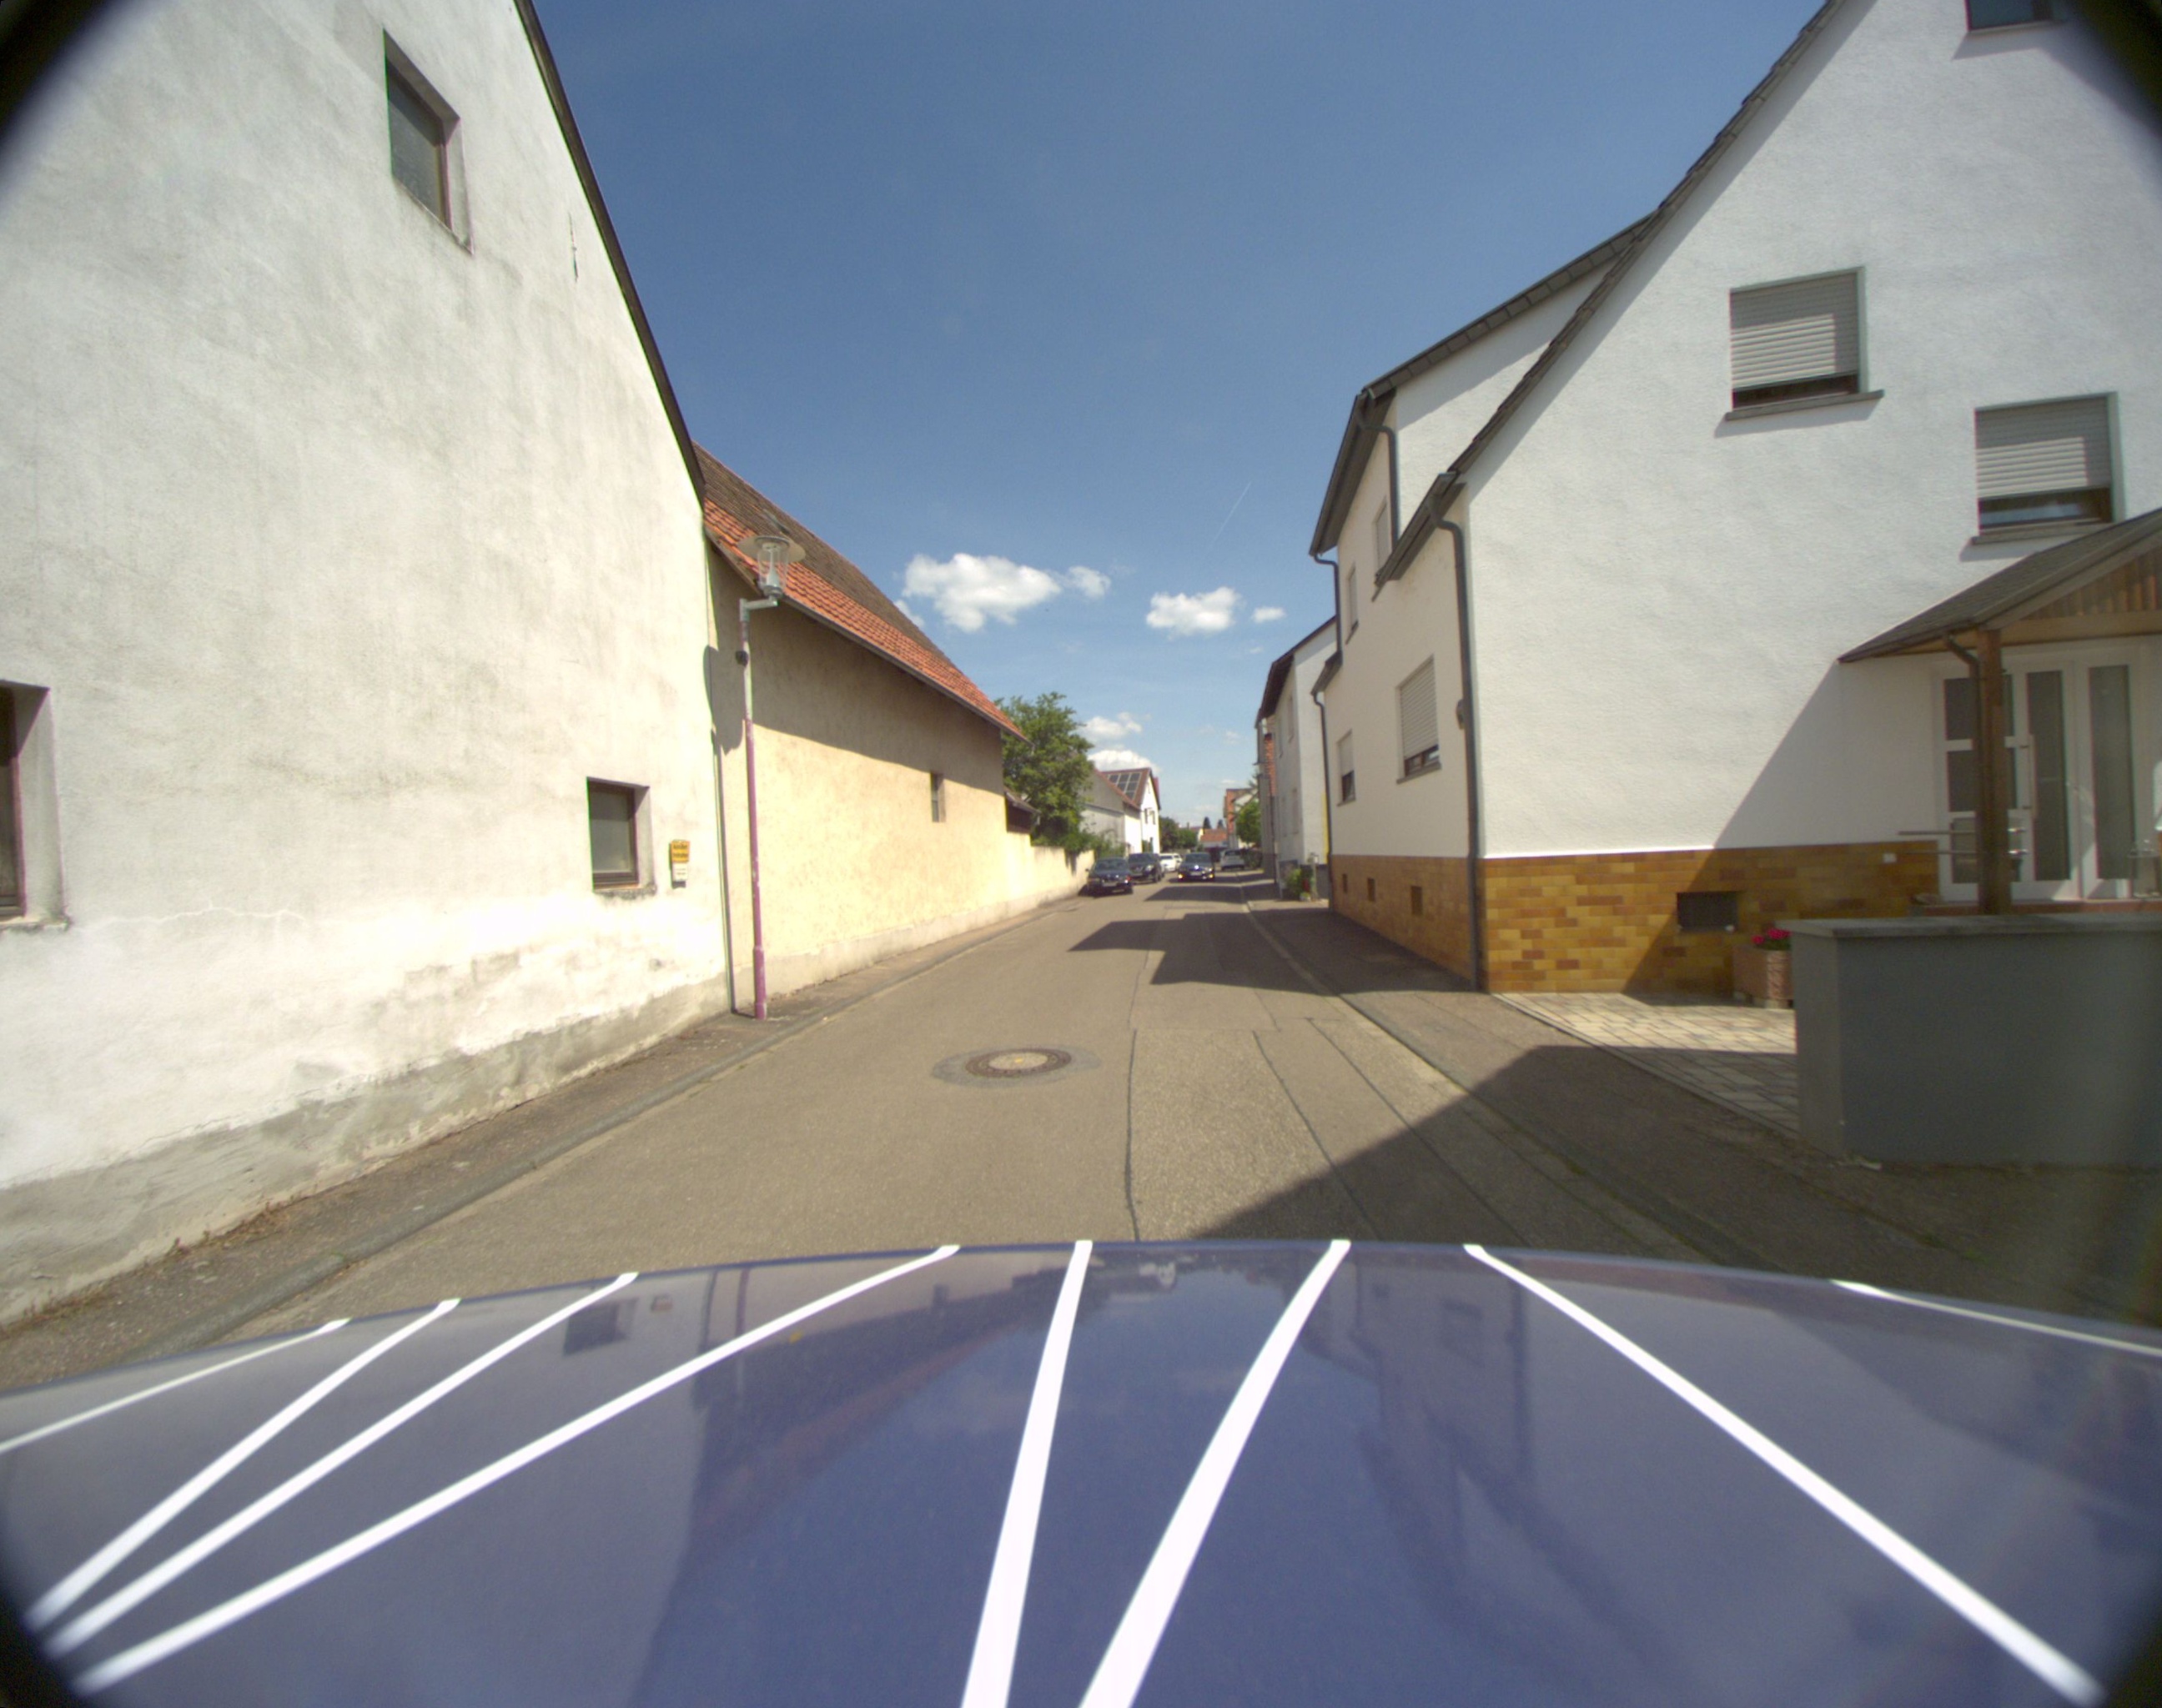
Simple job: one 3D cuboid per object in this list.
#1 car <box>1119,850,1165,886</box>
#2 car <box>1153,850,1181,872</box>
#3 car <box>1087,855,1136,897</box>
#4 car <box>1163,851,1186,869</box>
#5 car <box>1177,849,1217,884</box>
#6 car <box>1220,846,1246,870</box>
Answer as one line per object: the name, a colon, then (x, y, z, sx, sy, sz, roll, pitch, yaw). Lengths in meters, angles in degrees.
car: (3.204, 0.677, 39.179, 1.783, 1.600, 4.003, -5, 0, 10)
car: (6.721, 0.522, 59.309, 1.783, 1.492, 4.041, -5, 0, 10)
car: (1.263, 0.816, 30.275, 1.784, 1.471, 4.001, -2, 0, 4)
car: (8.830, 0.561, 71.668, 1.783, 1.492, 4.041, -5, 0, 10)
car: (5.886, 0.587, 38.074, 1.783, 1.527, 4.713, -2, 1, 10)
car: (11.521, 0.288, 57.703, 1.783, 1.600, 4.003, -5, 0, 10)
